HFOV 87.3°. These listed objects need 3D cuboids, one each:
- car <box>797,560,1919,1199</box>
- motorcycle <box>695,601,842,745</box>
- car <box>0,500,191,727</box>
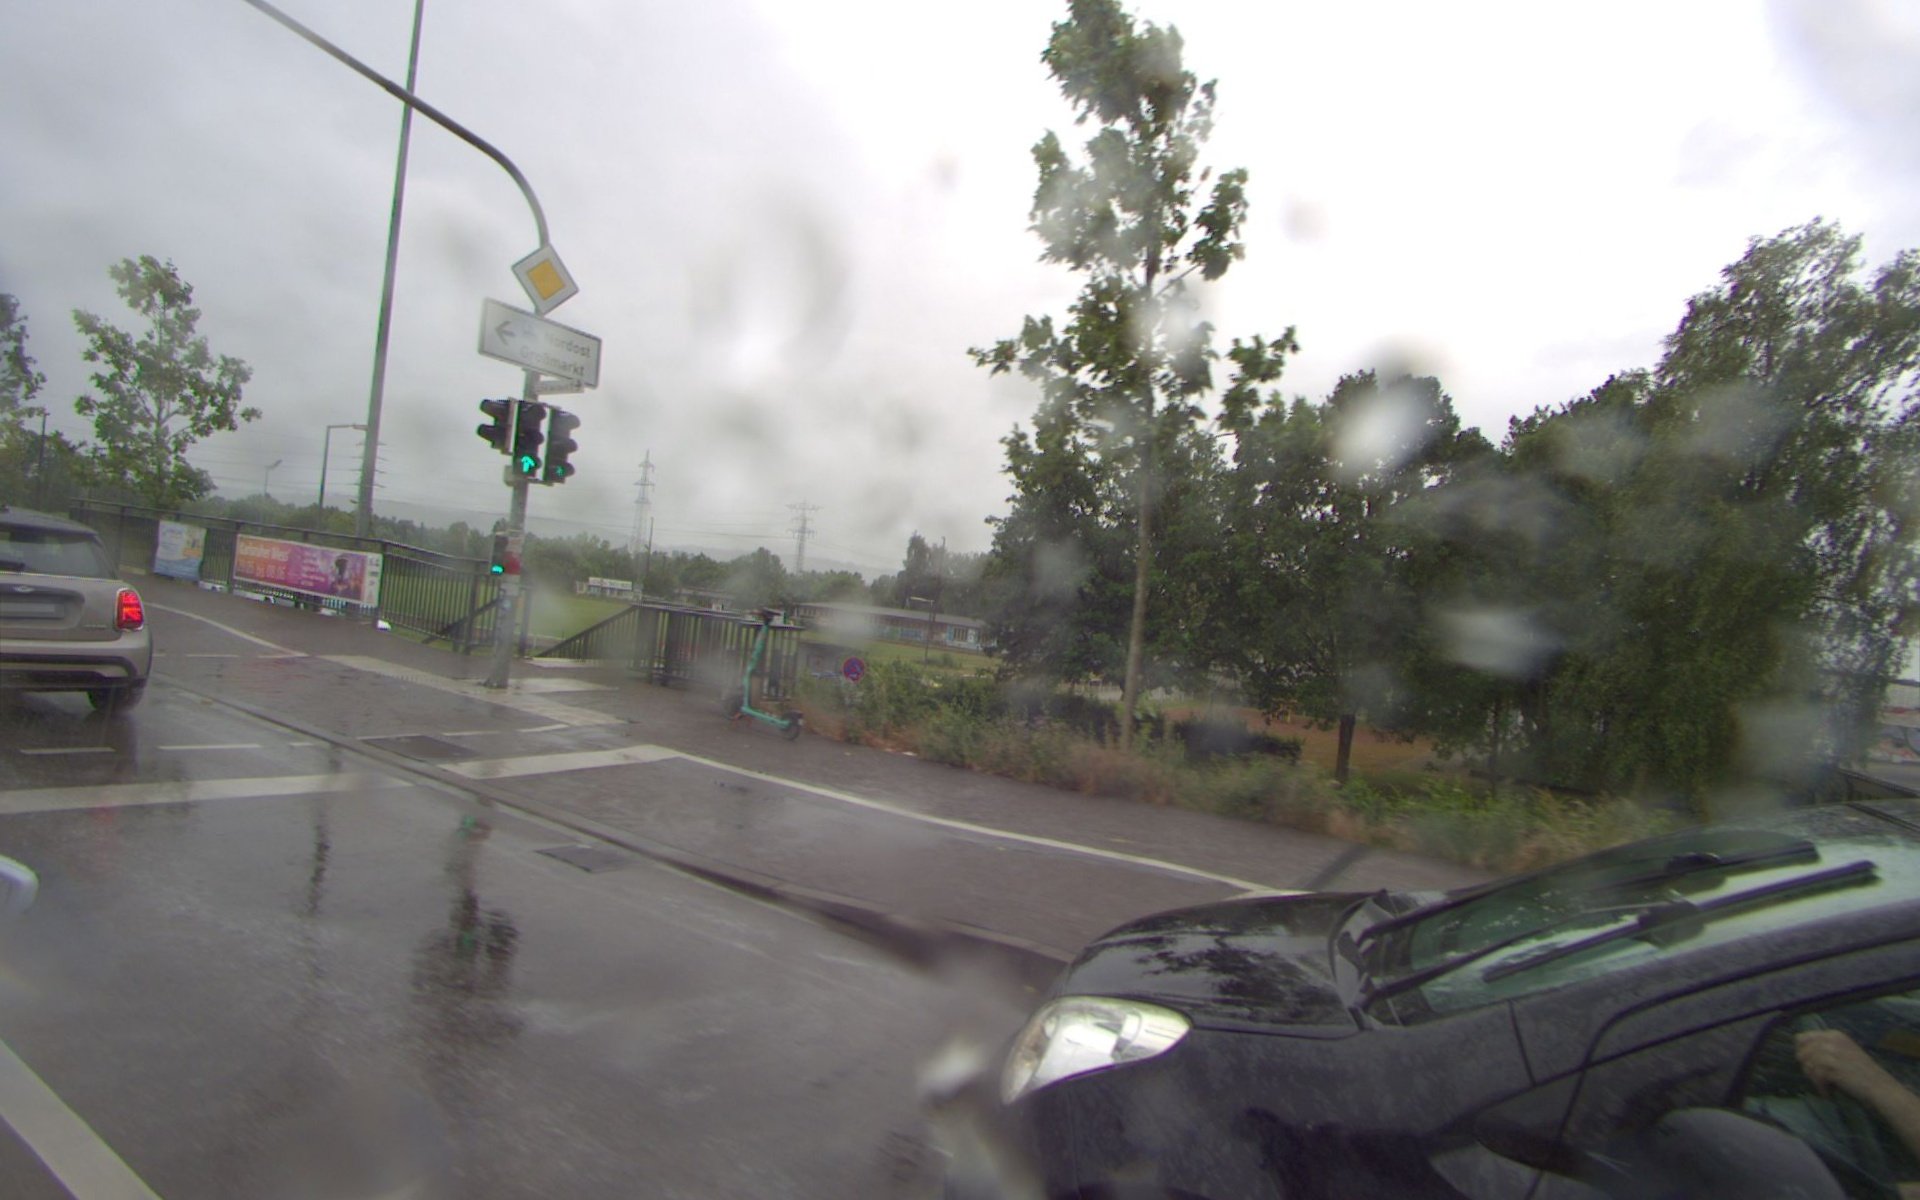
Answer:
[{"bbox_3d":[1.907,0.991,1.455,4.025,1.478,1.775,8,-1,33],"label":"car"},{"bbox_3d":[-1.953,0.712,10.157,1.428,1.234,0.630,8,2,44],"label":"motorcycle"},{"bbox_3d":[-7.791,-0.085,7.619,3.790,1.430,1.794,8,-1,32],"label":"car"}]
